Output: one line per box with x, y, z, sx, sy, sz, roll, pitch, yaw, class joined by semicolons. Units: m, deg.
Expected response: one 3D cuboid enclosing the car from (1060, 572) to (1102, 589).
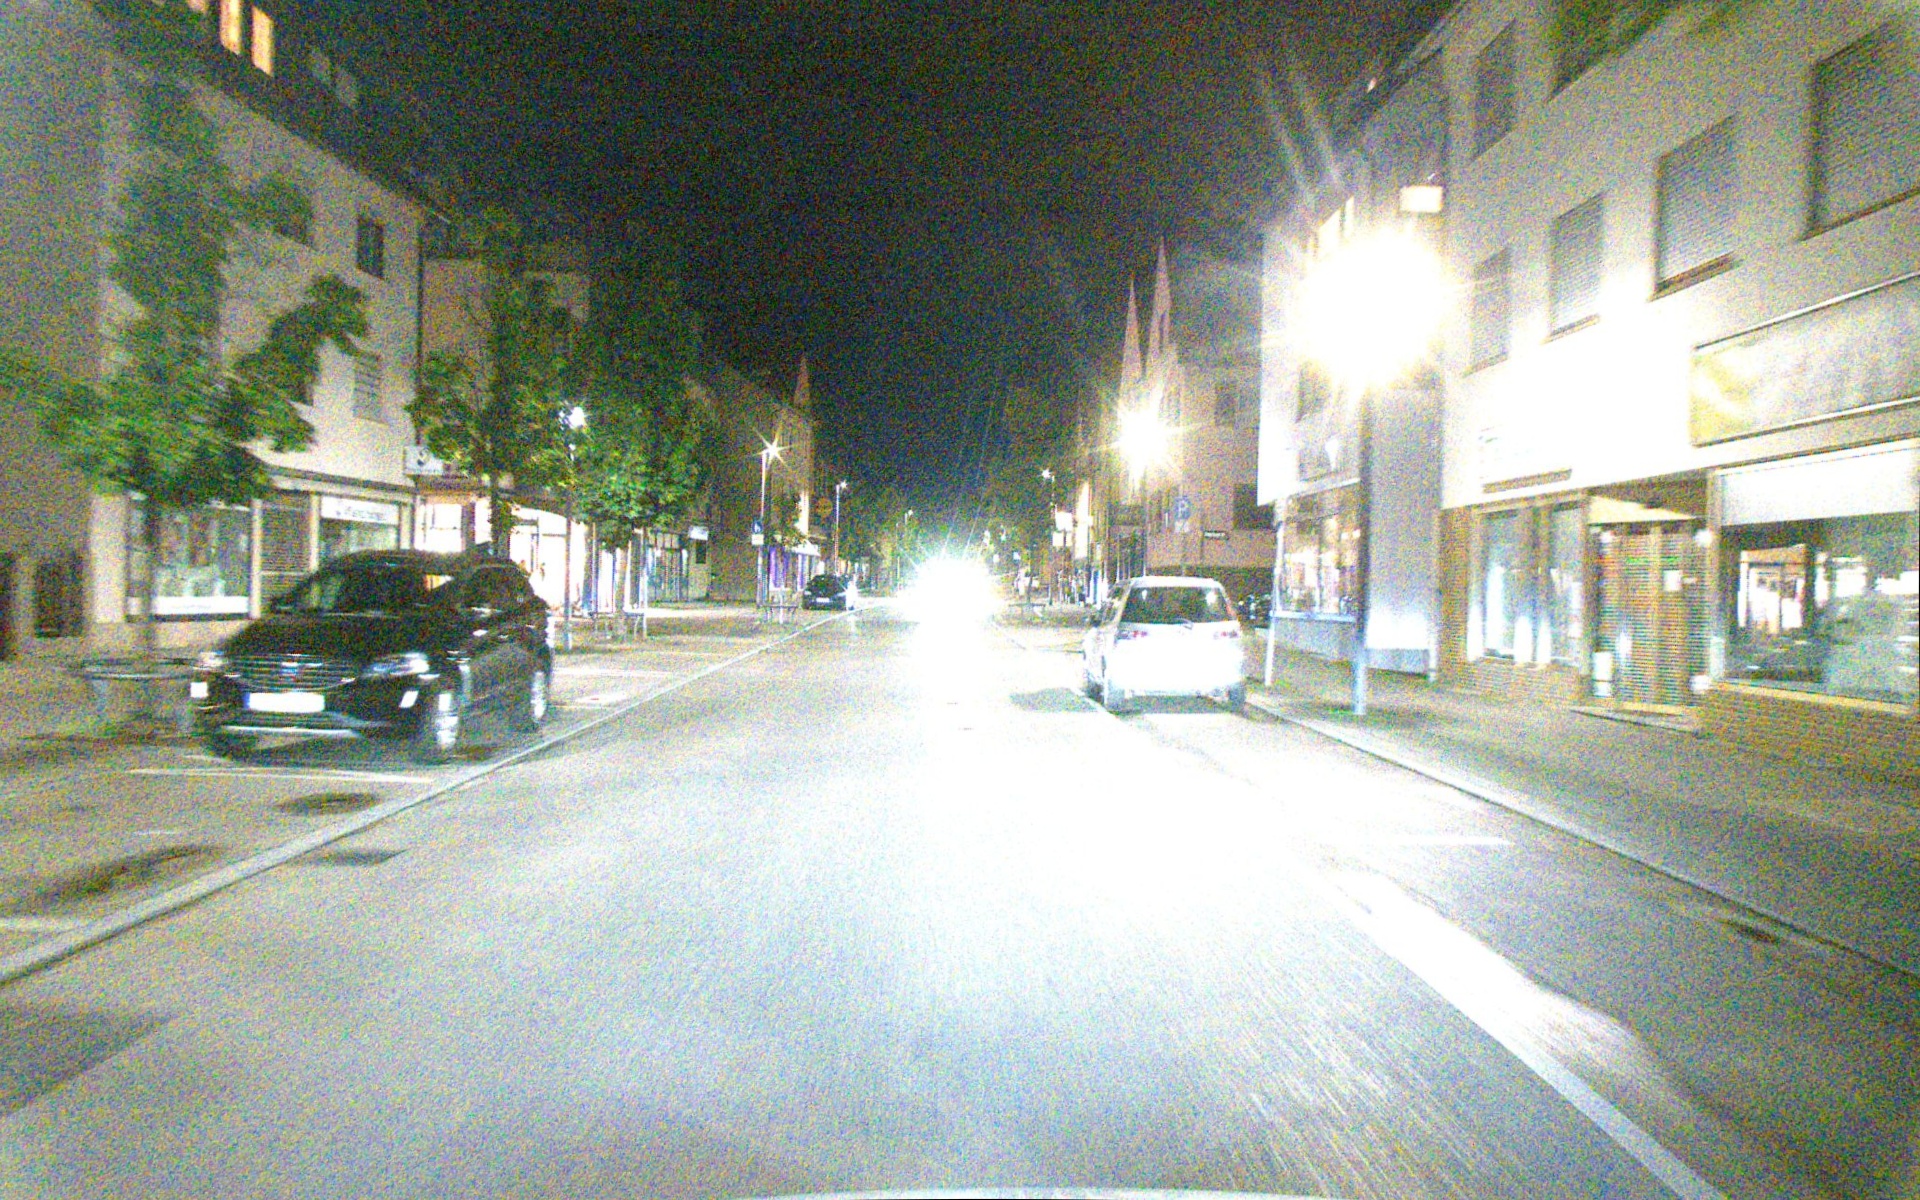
11.346;-1.831;155.094;3.902;1.441;2.001;0;-1;5;car

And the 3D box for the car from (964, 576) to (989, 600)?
1.239;-0.856;119.938;1.738;1.681;4.365;0;1;1;car

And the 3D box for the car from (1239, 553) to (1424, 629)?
9.000;-0.239;40.218;3.996;1.608;1.815;-3;1;-4;car

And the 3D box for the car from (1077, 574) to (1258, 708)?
2.448;0.454;20.283;1.641;1.485;3.674;1;0;-2;car

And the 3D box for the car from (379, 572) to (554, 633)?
-13.258;0.066;44.571;4.080;1.463;1.841;-2;0;3;car

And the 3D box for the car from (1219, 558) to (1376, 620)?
9.317;-0.296;45.852;3.908;1.502;1.751;-3;0;-3;car

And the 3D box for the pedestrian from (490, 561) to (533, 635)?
-10.395;-0.063;38.376;0.753;1.685;0.817;1;2;1;pedestrian

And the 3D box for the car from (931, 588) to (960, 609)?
-0.895;-0.130;103.353;1.687;1.268;4.238;1;0;1;car

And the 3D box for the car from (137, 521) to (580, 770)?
-4.931;0.318;14.482;1.976;1.720;5.003;2;0;0;car

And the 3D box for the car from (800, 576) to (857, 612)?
-5.414;-0.274;68.456;1.875;1.394;4.458;0;1;1;car

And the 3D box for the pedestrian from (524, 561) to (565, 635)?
-9.632;-0.049;38.363;0.753;1.685;0.782;1;2;1;pedestrian

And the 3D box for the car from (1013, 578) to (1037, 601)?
4.782;-0.771;122.097;1.739;1.681;4.365;0;1;1;car
